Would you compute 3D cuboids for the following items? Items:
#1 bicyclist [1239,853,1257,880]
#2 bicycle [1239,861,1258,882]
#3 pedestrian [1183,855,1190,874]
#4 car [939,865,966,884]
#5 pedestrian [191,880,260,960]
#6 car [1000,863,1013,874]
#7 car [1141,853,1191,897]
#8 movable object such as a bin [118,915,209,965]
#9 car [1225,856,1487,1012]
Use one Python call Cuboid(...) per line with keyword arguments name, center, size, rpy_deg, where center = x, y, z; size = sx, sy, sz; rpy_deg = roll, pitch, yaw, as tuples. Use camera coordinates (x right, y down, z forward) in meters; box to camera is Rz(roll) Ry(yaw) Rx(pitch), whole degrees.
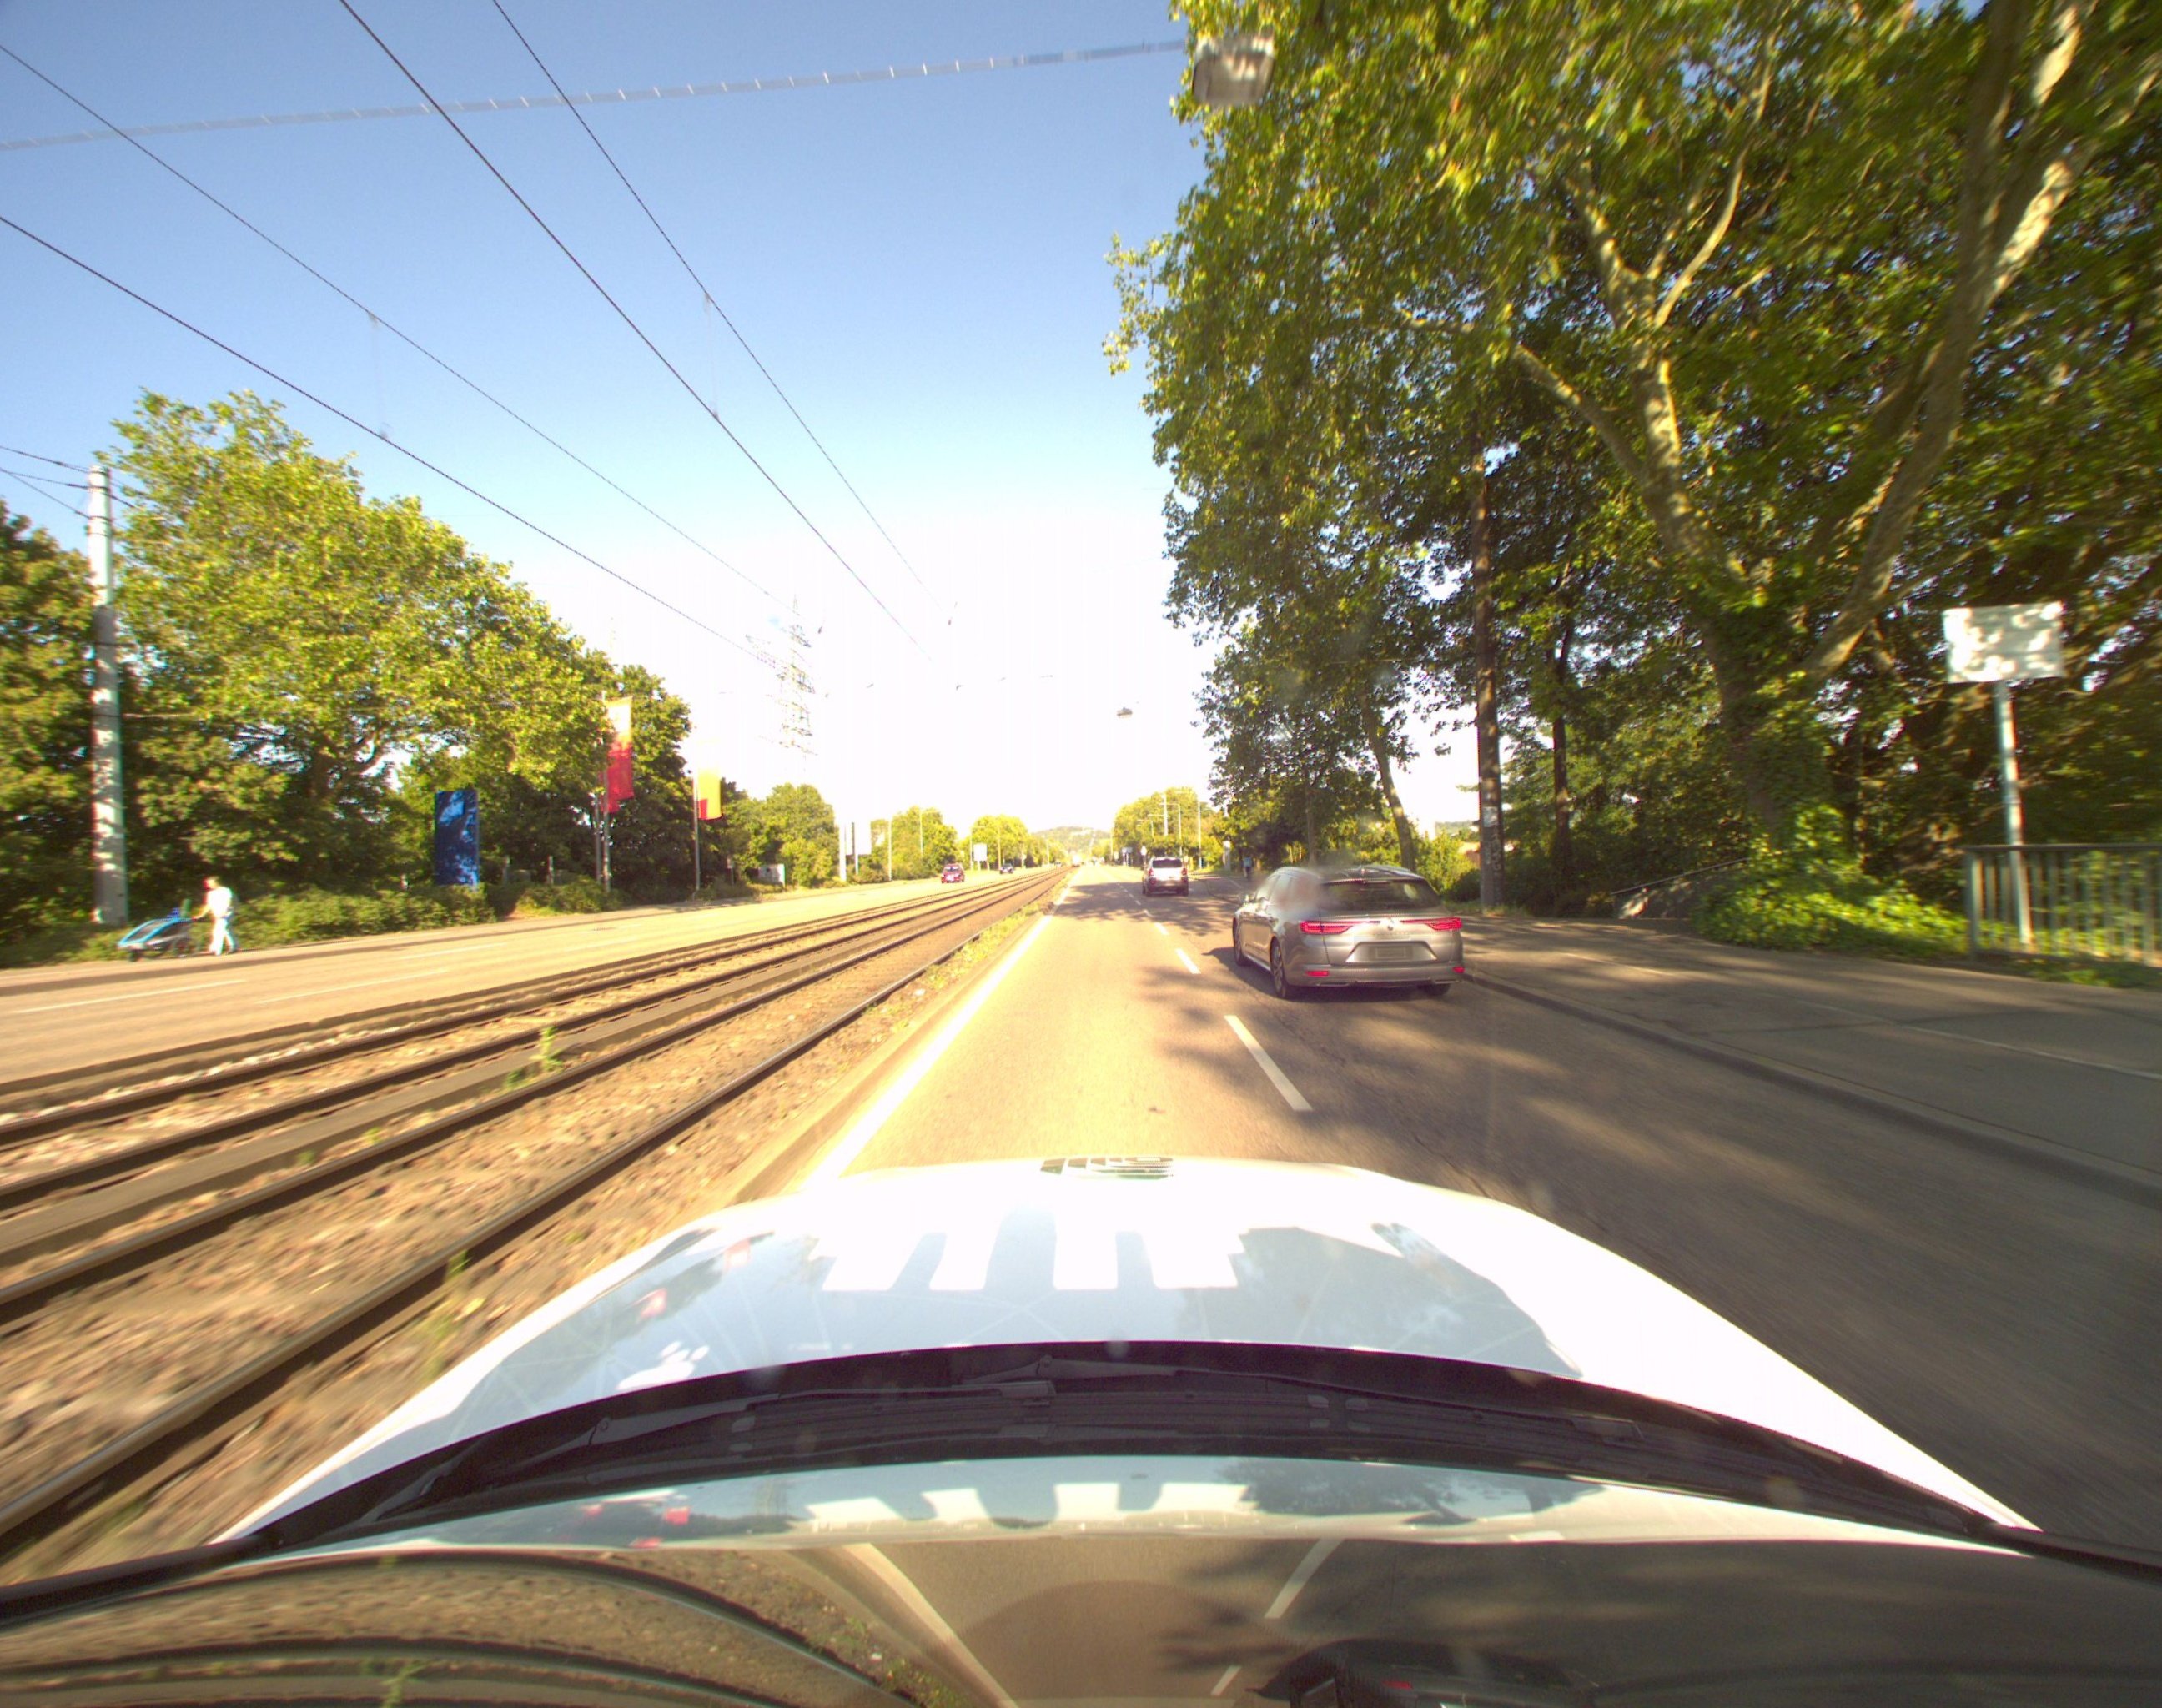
Cuboid(name="bicyclist", center=(9.522, 0.685, 46.388), size=(0.791, 1.460, 1.113), rpy_deg=(-4, 0, 4))
Cuboid(name="bicycle", center=(9.546, 0.966, 46.487), size=(0.791, 1.094, 1.897), rpy_deg=(-4, 0, 5))
Cuboid(name="pedestrian", center=(10.774, 1.072, 82.893), size=(0.624, 1.871, 0.624), rpy_deg=(0, 0, 0))
Cuboid(name="car", center=(-12.286, 1.945, 78.220), size=(1.856, 1.720, 4.001), rpy_deg=(-1, 0, 1))
Cuboid(name="pedestrian", center=(-19.553, 1.487, 18.625), size=(0.718, 1.756, 0.840), rpy_deg=(0, -2, 23))
Cuboid(name="car", center=(-11.933, 2.356, 130.681), size=(1.900, 1.644, 3.998), rpy_deg=(0, 0, -1))
Cuboid(name="car", center=(3.726, 0.881, 36.336), size=(1.877, 1.795, 4.001), rpy_deg=(0, 0, 1))
Cuboid(name="movable object such as a bin", center=(-19.943, 1.855, 17.718), size=(0.718, 0.961, 1.107), rpy_deg=(0, -1, 23))
Cuboid(name="car", center=(3.085, 0.797, 10.268), size=(1.859, 1.467, 4.668), rpy_deg=(-2, -1, 2))
